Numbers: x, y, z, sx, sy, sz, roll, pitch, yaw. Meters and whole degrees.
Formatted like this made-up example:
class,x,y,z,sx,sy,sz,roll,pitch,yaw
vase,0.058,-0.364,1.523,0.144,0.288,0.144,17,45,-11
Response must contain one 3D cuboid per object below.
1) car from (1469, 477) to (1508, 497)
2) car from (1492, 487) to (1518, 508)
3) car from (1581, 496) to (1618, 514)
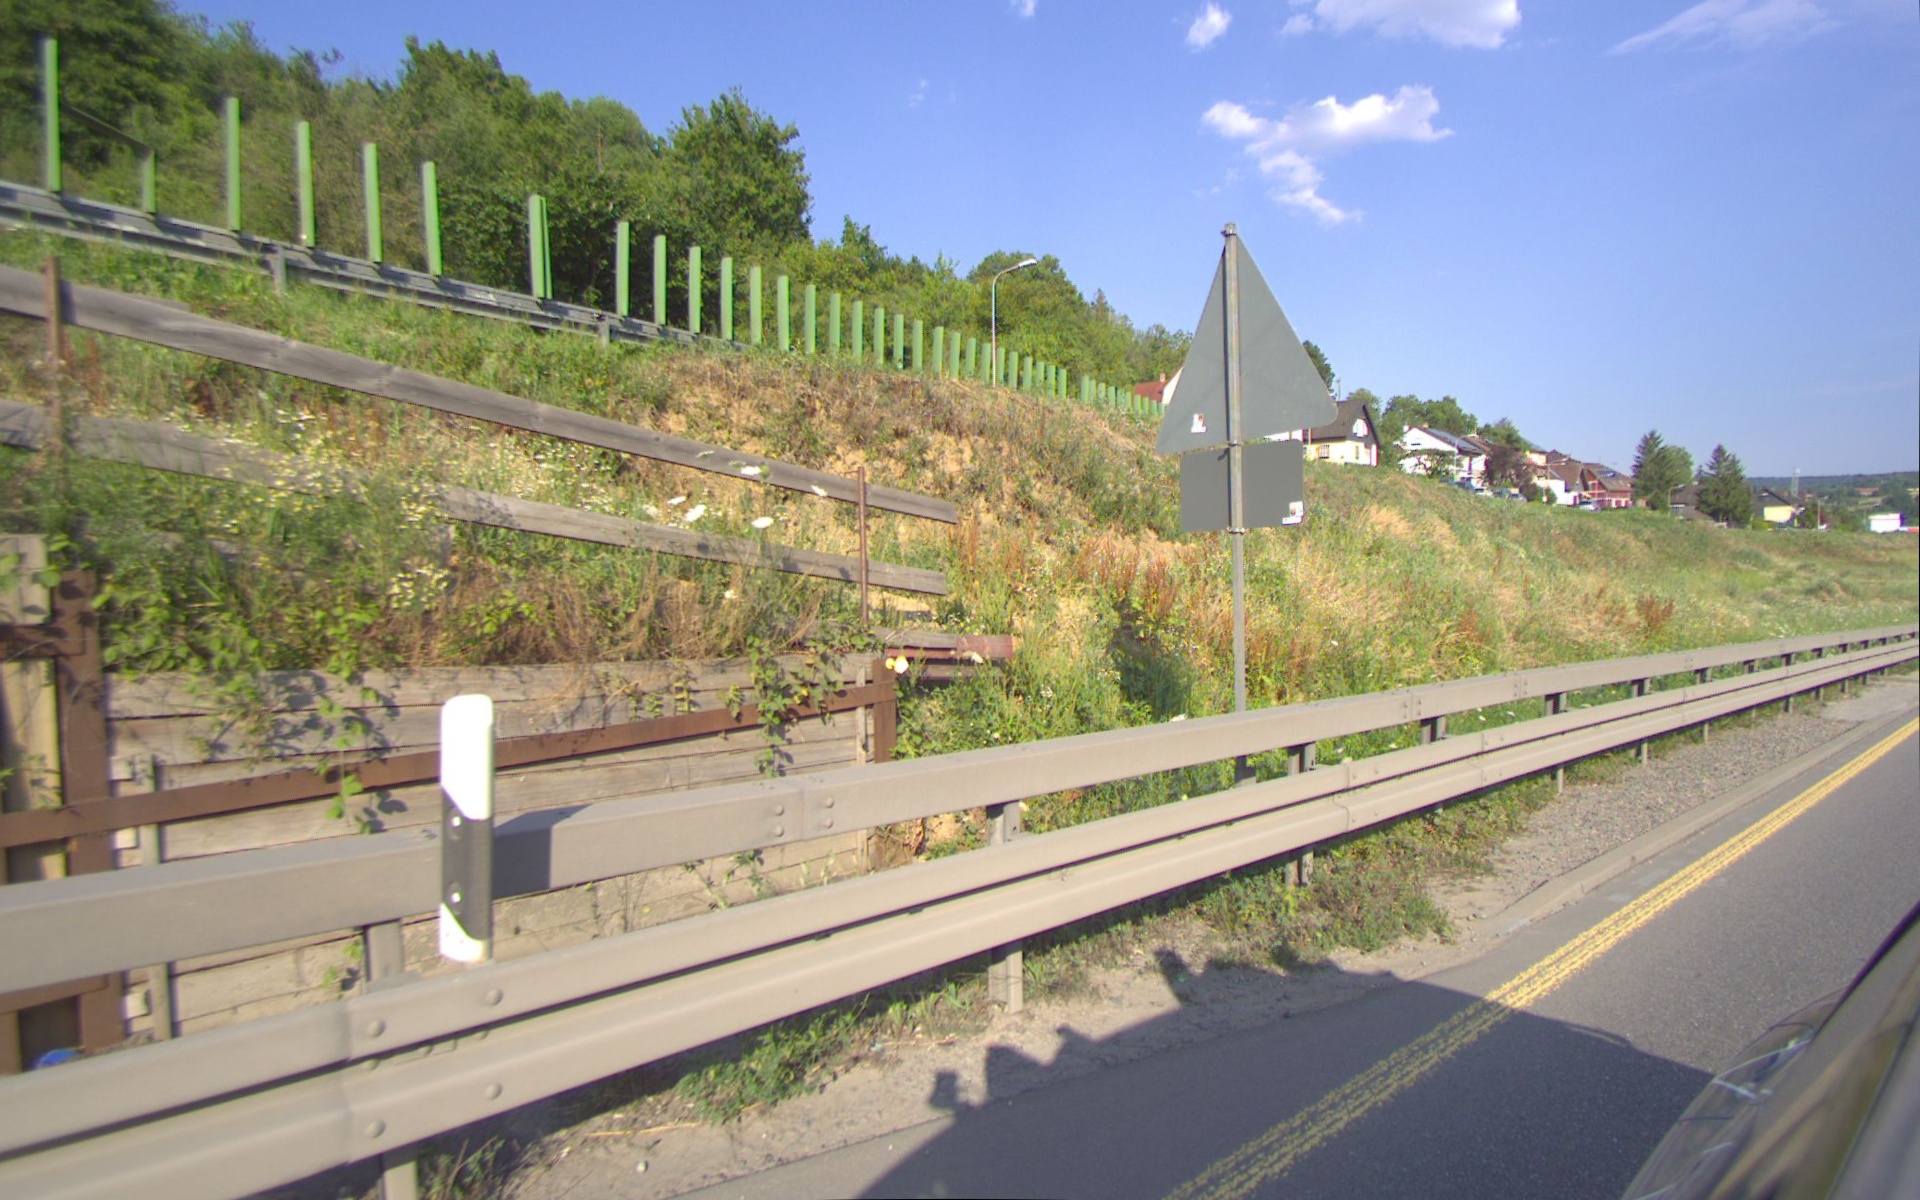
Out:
class,x,y,z,sx,sy,sz,roll,pitch,yaw
car,40.094,-8.531,76.711,3.834,1.248,1.345,-2,1,-42
car,43.252,-8.104,80.259,1.340,1.339,3.299,0,1,37
car,63.559,-9.401,100.553,3.929,1.460,1.997,-1,1,-40
